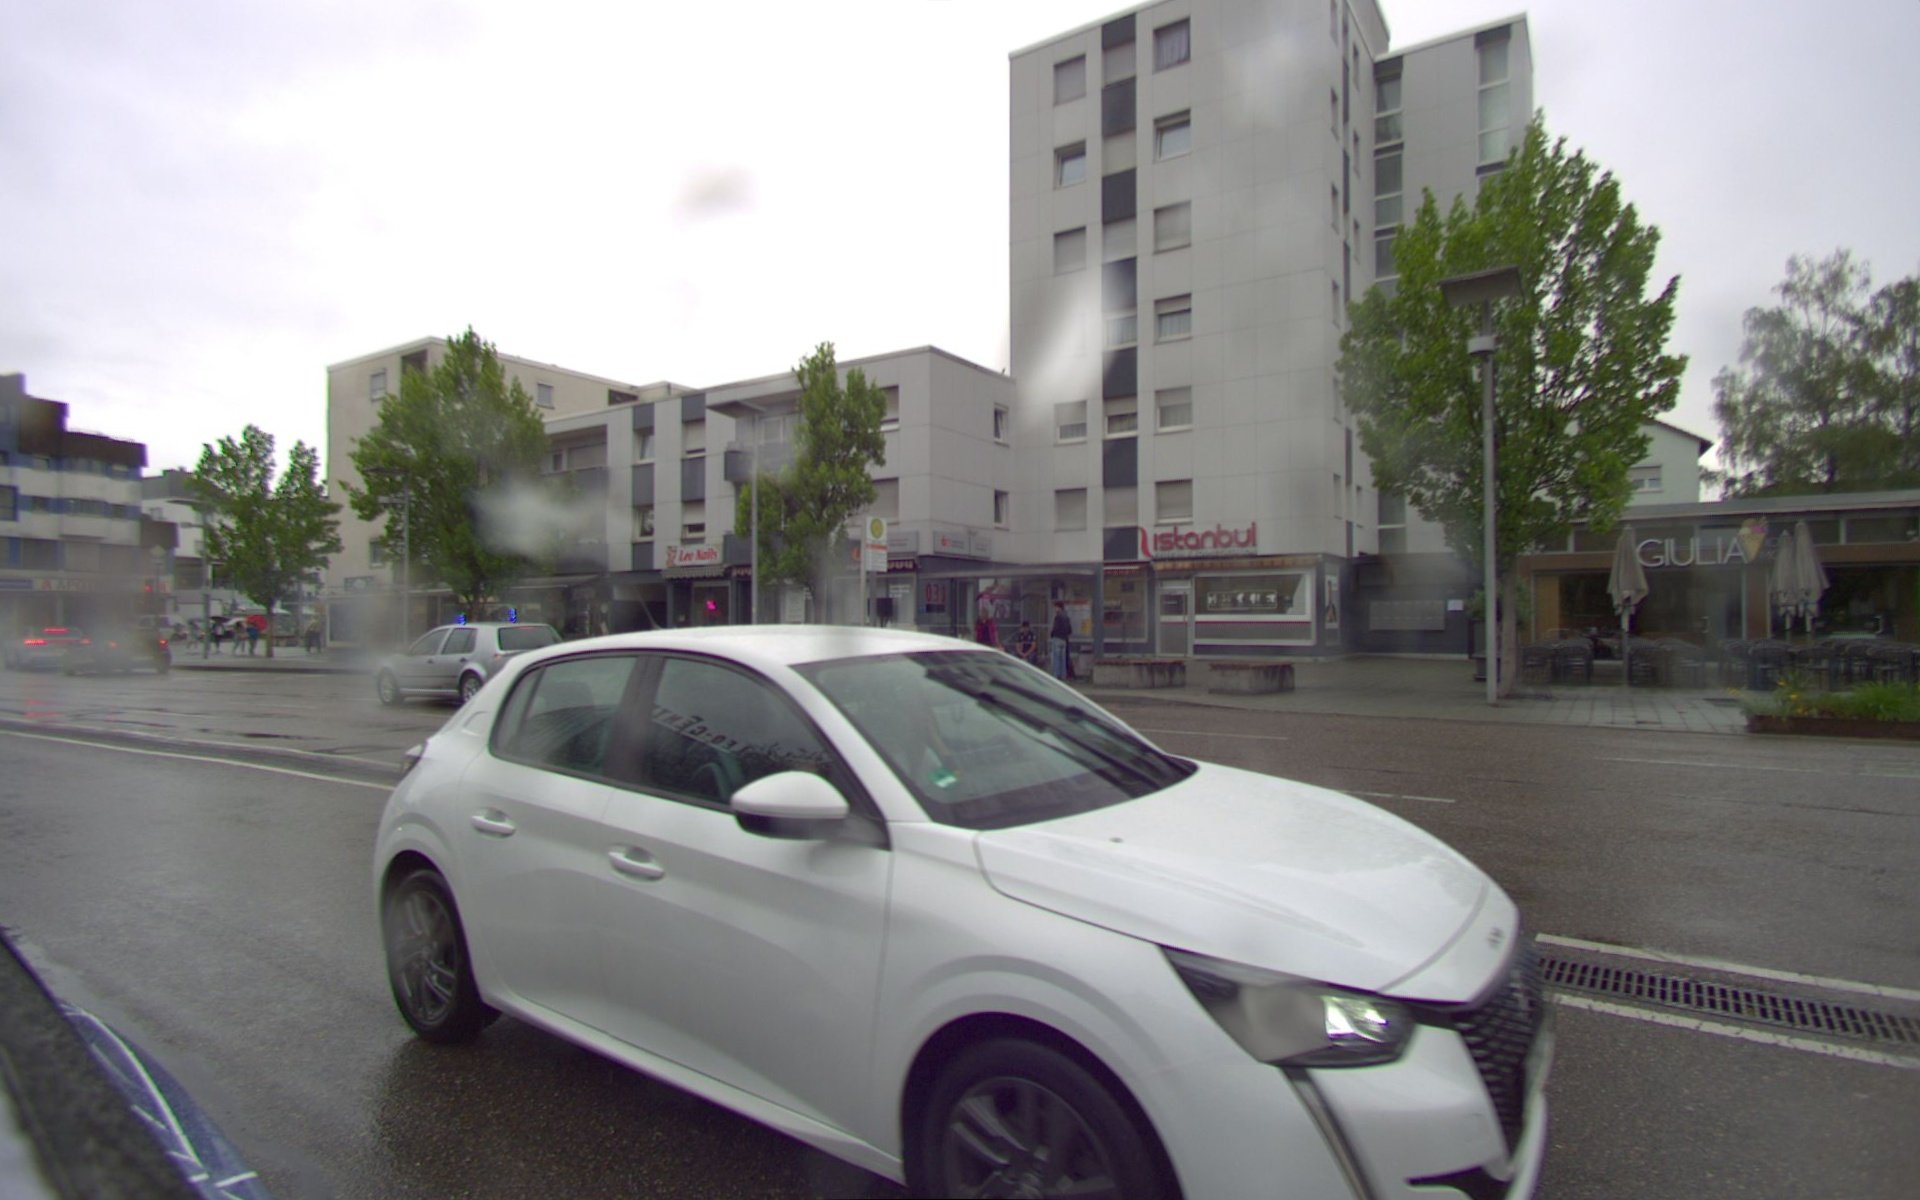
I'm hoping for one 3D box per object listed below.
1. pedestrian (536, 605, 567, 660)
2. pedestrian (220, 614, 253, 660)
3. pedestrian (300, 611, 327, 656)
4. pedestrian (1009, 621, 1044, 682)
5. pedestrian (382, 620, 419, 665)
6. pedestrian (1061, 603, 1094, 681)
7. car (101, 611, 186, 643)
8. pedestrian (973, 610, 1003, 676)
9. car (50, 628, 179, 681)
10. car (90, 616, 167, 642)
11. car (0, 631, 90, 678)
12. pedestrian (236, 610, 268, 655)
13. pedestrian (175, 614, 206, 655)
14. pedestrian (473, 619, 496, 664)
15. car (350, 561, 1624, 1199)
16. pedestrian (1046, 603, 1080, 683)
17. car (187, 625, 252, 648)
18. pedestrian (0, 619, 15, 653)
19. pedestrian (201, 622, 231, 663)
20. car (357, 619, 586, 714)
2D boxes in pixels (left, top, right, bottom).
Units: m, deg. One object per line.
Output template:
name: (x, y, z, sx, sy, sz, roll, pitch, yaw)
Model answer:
pedestrian: (-15.358, 1.214, 38.028, 0.862, 2.029, 0.752, -2, -2, 35)
pedestrian: (-32.231, 1.632, 45.087, 0.974, 2.029, 0.896, -2, -2, 32)
pedestrian: (-30.035, 1.557, 46.994, 0.861, 2.029, 0.753, -2, -2, 32)
pedestrian: (1.513, 1.158, 23.018, 0.578, 1.363, 0.529, -2, -2, 39)
pedestrian: (-21.224, 1.596, 38.382, 0.724, 1.658, 0.999, -2, -1, 32)
pedestrian: (2.579, 0.917, 22.171, 0.479, 1.672, 0.529, -2, -2, 39)
car: (-54.323, 1.799, 67.449, 1.972, 2.029, 4.597, -1, -1, 0)
pedestrian: (0.658, 1.010, 23.669, 0.608, 1.516, 0.535, -1, -1, 10)
car: (-25.111, 1.610, 30.043, 3.985, 1.438, 1.745, -2, -2, 31)
car: (-58.173, 1.990, 70.887, 1.731, 1.733, 3.877, -1, -1, 15)
car: (-30.821, 1.789, 34.025, 4.886, 1.438, 1.739, -2, -1, 41)
pedestrian: (-32.113, 1.478, 45.901, 0.974, 2.029, 0.896, -2, -2, 32)
pedestrian: (-36.447, 1.630, 47.926, 0.974, 1.929, 0.896, -2, -2, 32)
pedestrian: (-18.991, 1.664, 40.404, 0.679, 1.763, 0.543, -2, -2, 35)
car: (-0.153, 0.725, 3.364, 3.865, 1.473, 1.855, -2, -1, 36)
pedestrian: (2.208, 0.915, 21.685, 0.535, 1.672, 0.474, -2, -2, 34)
car: (-57.211, 2.796, 78.234, 1.731, 1.733, 3.877, -1, -1, 15)
pedestrian: (-50.774, 1.920, 53.788, 0.672, 1.756, 0.586, -1, -1, -32)
pedestrian: (-35.876, 2.031, 48.788, 0.974, 1.929, 0.896, -2, -2, 32)
car: (-8.536, 1.098, 17.596, 4.090, 1.477, 1.686, -1, -3, 33)
